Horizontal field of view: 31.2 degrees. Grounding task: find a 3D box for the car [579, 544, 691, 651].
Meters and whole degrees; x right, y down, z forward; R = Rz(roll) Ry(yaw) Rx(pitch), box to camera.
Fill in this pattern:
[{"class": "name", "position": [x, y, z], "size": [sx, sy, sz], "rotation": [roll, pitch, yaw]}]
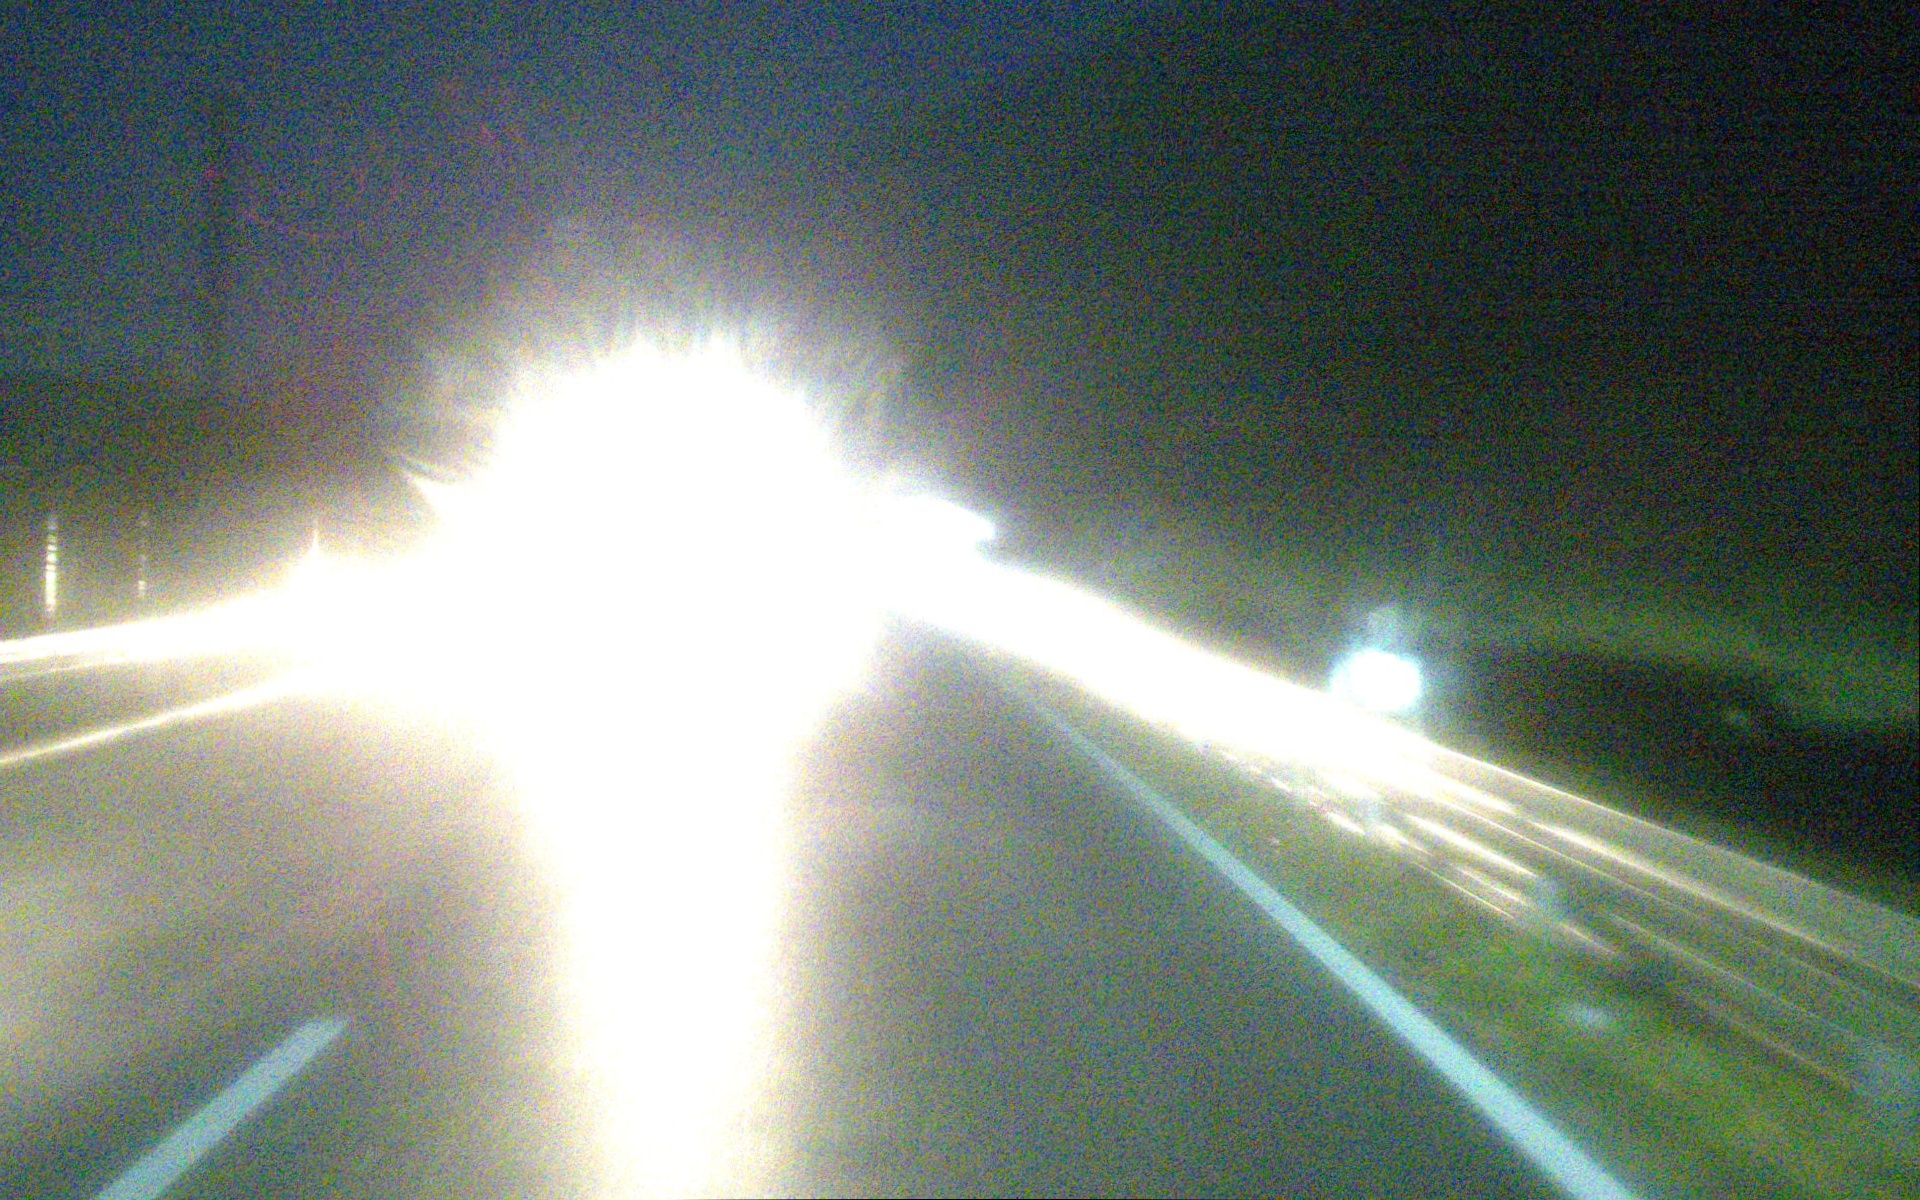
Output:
[{"class": "car", "position": [-5.913, -0.083, 62.962], "size": [1.832, 1.864, 4.430], "rotation": [1, 1, -3]}]
